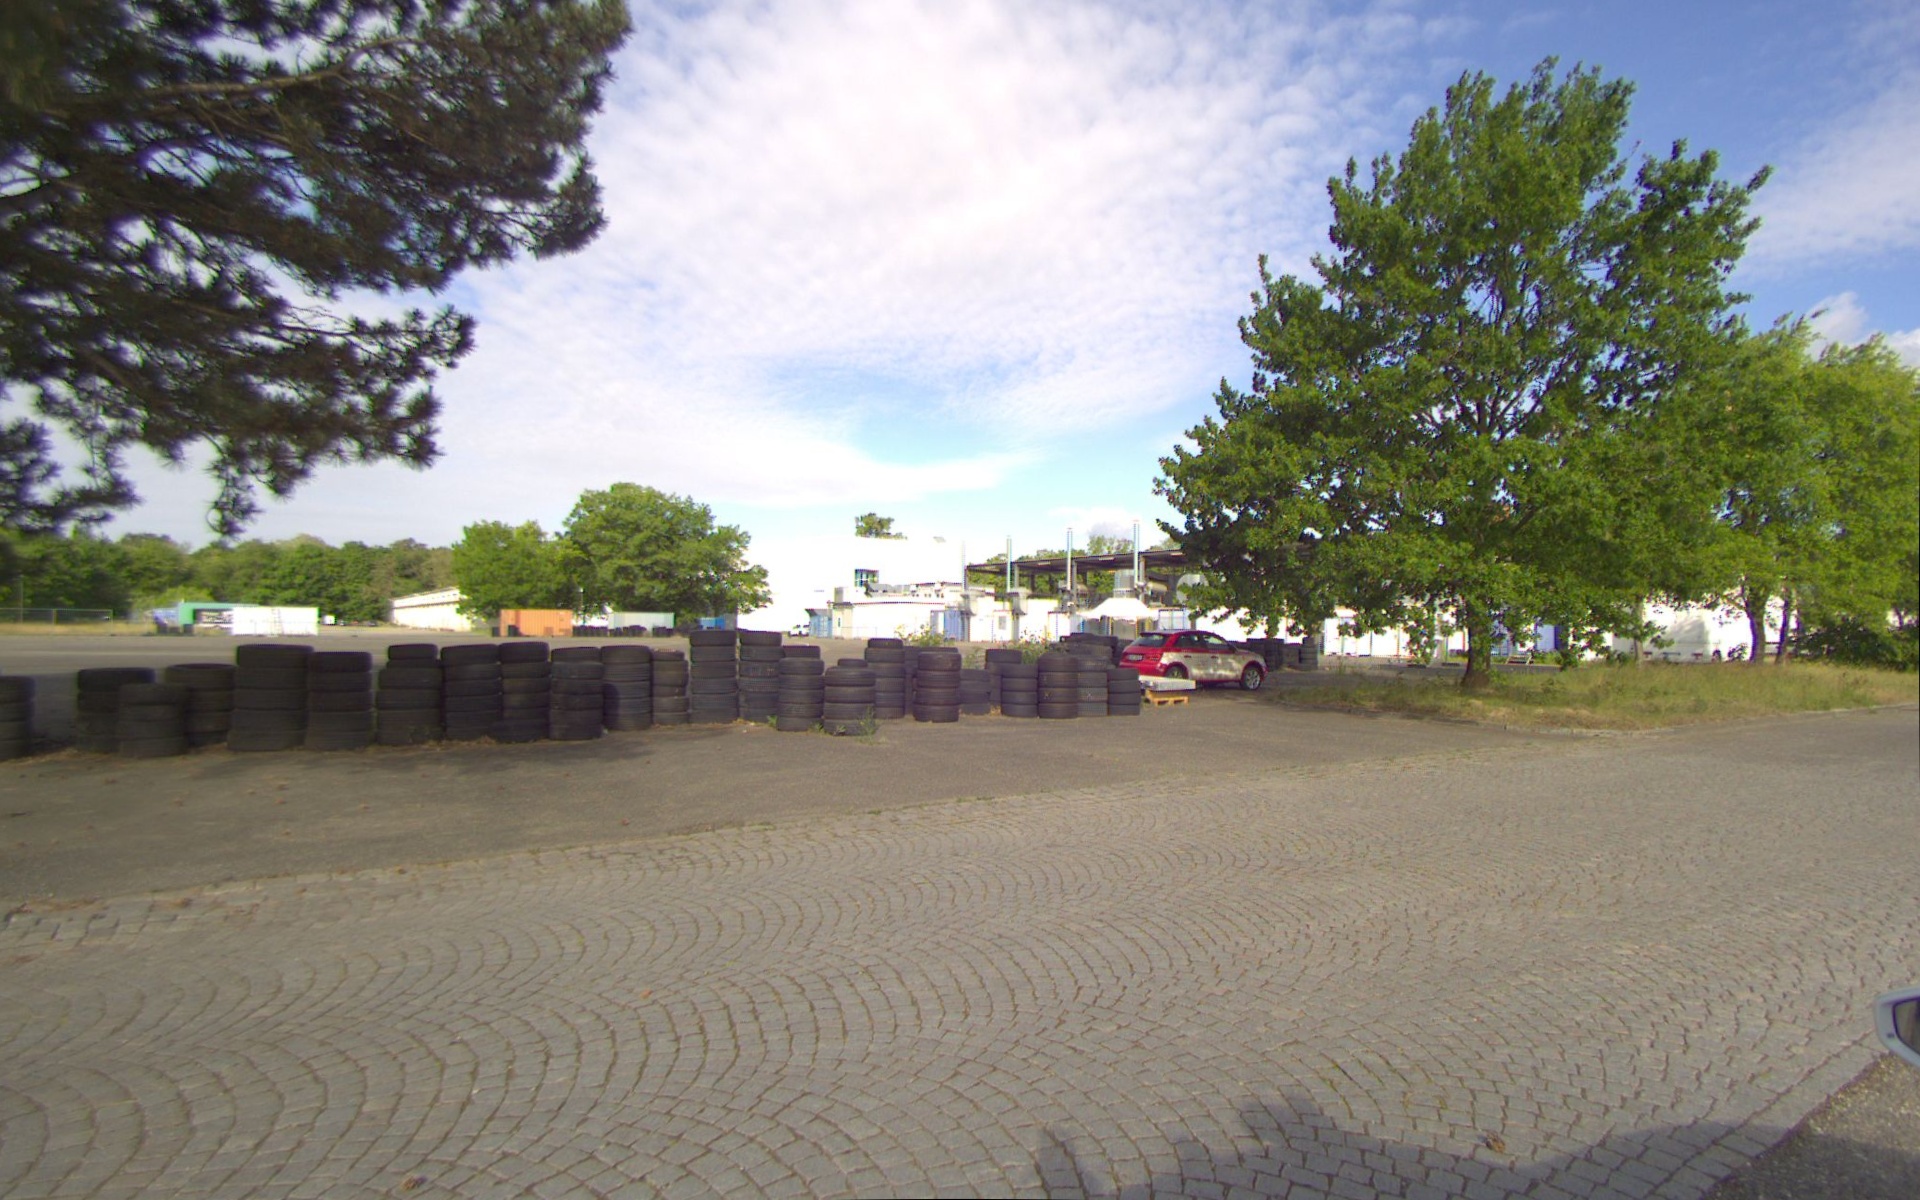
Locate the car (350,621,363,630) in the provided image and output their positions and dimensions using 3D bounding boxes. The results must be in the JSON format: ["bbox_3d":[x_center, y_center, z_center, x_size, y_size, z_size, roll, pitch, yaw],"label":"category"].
[{"bbox_3d":[-129.255,5.418,215.191,2.019,1.832,3.958,2,-2,-37],"label":"car"}]

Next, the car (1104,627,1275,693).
[{"bbox_3d":[5.619,1.426,24.537,3.950,1.483,1.716,2,-2,-28],"label":"car"}]

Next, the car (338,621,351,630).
[{"bbox_3d":[-130.985,5.390,213.726,1.982,1.773,3.958,2,-2,-37],"label":"car"}]

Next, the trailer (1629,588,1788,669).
[{"bbox_3d":[35.579,1.403,47.601,9.796,3.517,2.900,2,-2,-33],"label":"trailer"}]

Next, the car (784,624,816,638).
[{"bbox_3d":[-18.618,3.626,116.779,1.857,1.585,4.501,2,-2,-36],"label":"car"}]

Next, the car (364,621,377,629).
[{"bbox_3d":[-127.203,5.382,216.661,1.982,1.773,3.958,2,-2,-37],"label":"car"}]
